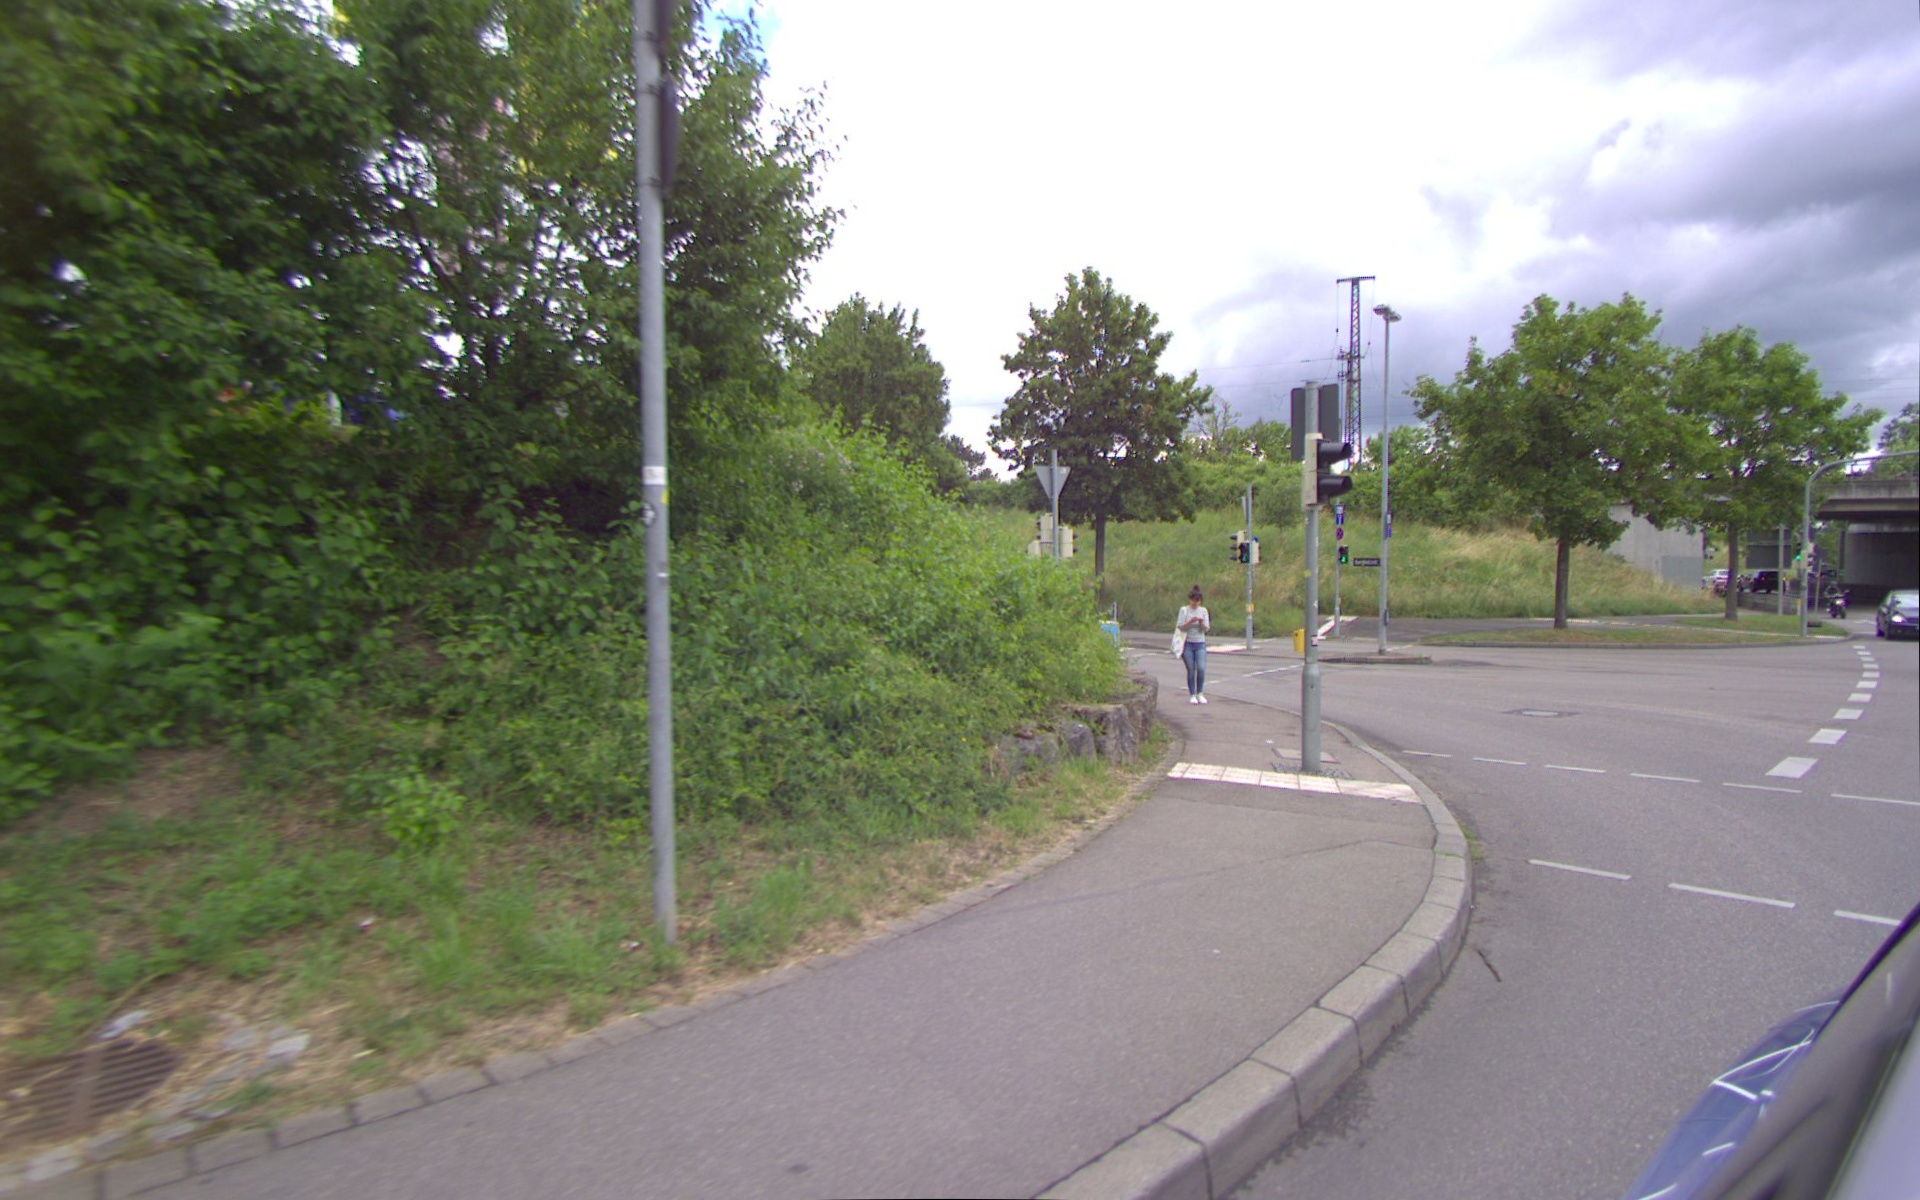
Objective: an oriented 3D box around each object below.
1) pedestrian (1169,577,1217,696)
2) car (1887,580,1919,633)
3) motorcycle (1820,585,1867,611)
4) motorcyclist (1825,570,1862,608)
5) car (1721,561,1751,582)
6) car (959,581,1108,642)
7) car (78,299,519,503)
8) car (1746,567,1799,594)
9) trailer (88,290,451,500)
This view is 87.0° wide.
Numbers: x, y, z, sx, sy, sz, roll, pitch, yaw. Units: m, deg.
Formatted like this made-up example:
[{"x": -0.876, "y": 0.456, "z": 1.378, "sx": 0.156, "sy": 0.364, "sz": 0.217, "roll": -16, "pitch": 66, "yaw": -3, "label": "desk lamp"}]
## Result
[{"x": 3.275, "y": 0.501, "z": 14.266, "sx": 0.570, "sy": 1.629, "sz": 0.623, "roll": -1, "pitch": 0, "yaw": 8, "label": "pedestrian"}, {"x": 30.758, "y": 0.166, "z": 32.022, "sx": 3.933, "sy": 1.560, "sz": 1.756, "roll": -2, "pitch": 1, "yaw": -42, "label": "car"}, {"x": 39.198, "y": -0.097, "z": 44.939, "sx": 0.873, "sy": 1.118, "sz": 2.342, "roll": -1, "pitch": 1, "yaw": 24, "label": "motorcycle"}, {"x": 39.189, "y": -0.495, "z": 44.913, "sx": 0.873, "sy": 1.625, "sz": 1.234, "roll": -1, "pitch": 0, "yaw": 24, "label": "motorcyclist"}, {"x": 61.666, "y": -2.267, "z": 80.381, "sx": 1.751, "sy": 1.533, "sz": 3.833, "roll": -1, "pitch": 1, "yaw": 39, "label": "car"}, {"x": 1.979, "y": 0.296, "z": 27.795, "sx": 3.817, "sy": 1.515, "sz": 1.734, "roll": -1, "pitch": 1, "yaw": 42, "label": "car"}, {"x": -7.510, "y": -2.113, "z": 11.549, "sx": 4.451, "sy": 1.659, "sz": 1.821, "roll": -1, "pitch": 1, "yaw": 18, "label": "car"}, {"x": 56.975, "y": -1.389, "z": 71.035, "sx": 1.945, "sy": 1.813, "sz": 3.967, "roll": -1, "pitch": 1, "yaw": 25, "label": "car"}, {"x": -13.927, "y": -3.936, "z": 21.206, "sx": 2.431, "sy": 3.093, "sz": 6.475, "roll": -1, "pitch": 1, "yaw": 10, "label": "trailer"}]
